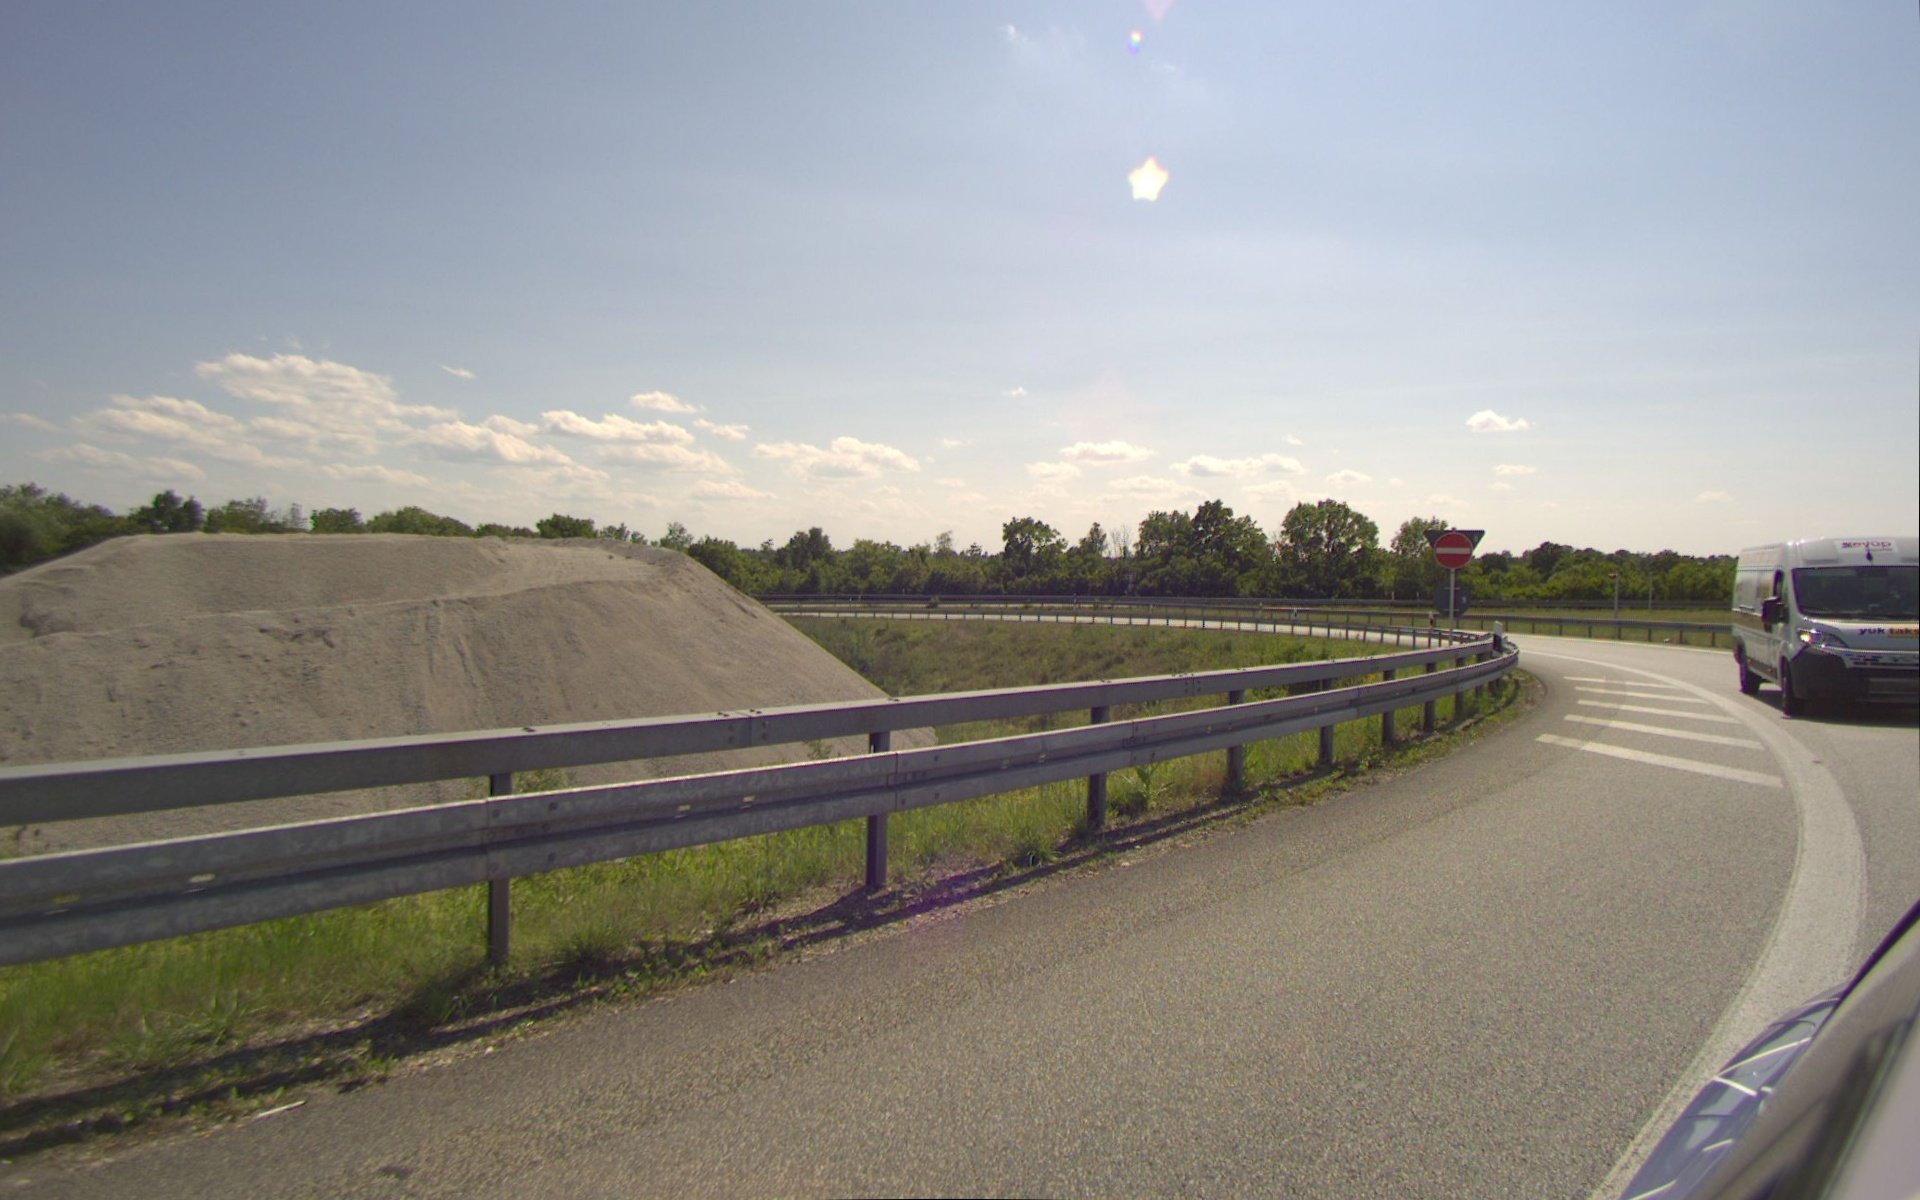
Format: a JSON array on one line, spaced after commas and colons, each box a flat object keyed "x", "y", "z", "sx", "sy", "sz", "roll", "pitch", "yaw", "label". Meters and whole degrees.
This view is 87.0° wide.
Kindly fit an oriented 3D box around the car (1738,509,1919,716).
[{"x": 13.352, "y": 0.165, "z": 15.185, "sx": 2.073, "sy": 2.556, "sz": 6.163, "roll": -2, "pitch": -1, "yaw": 33, "label": "car"}]
